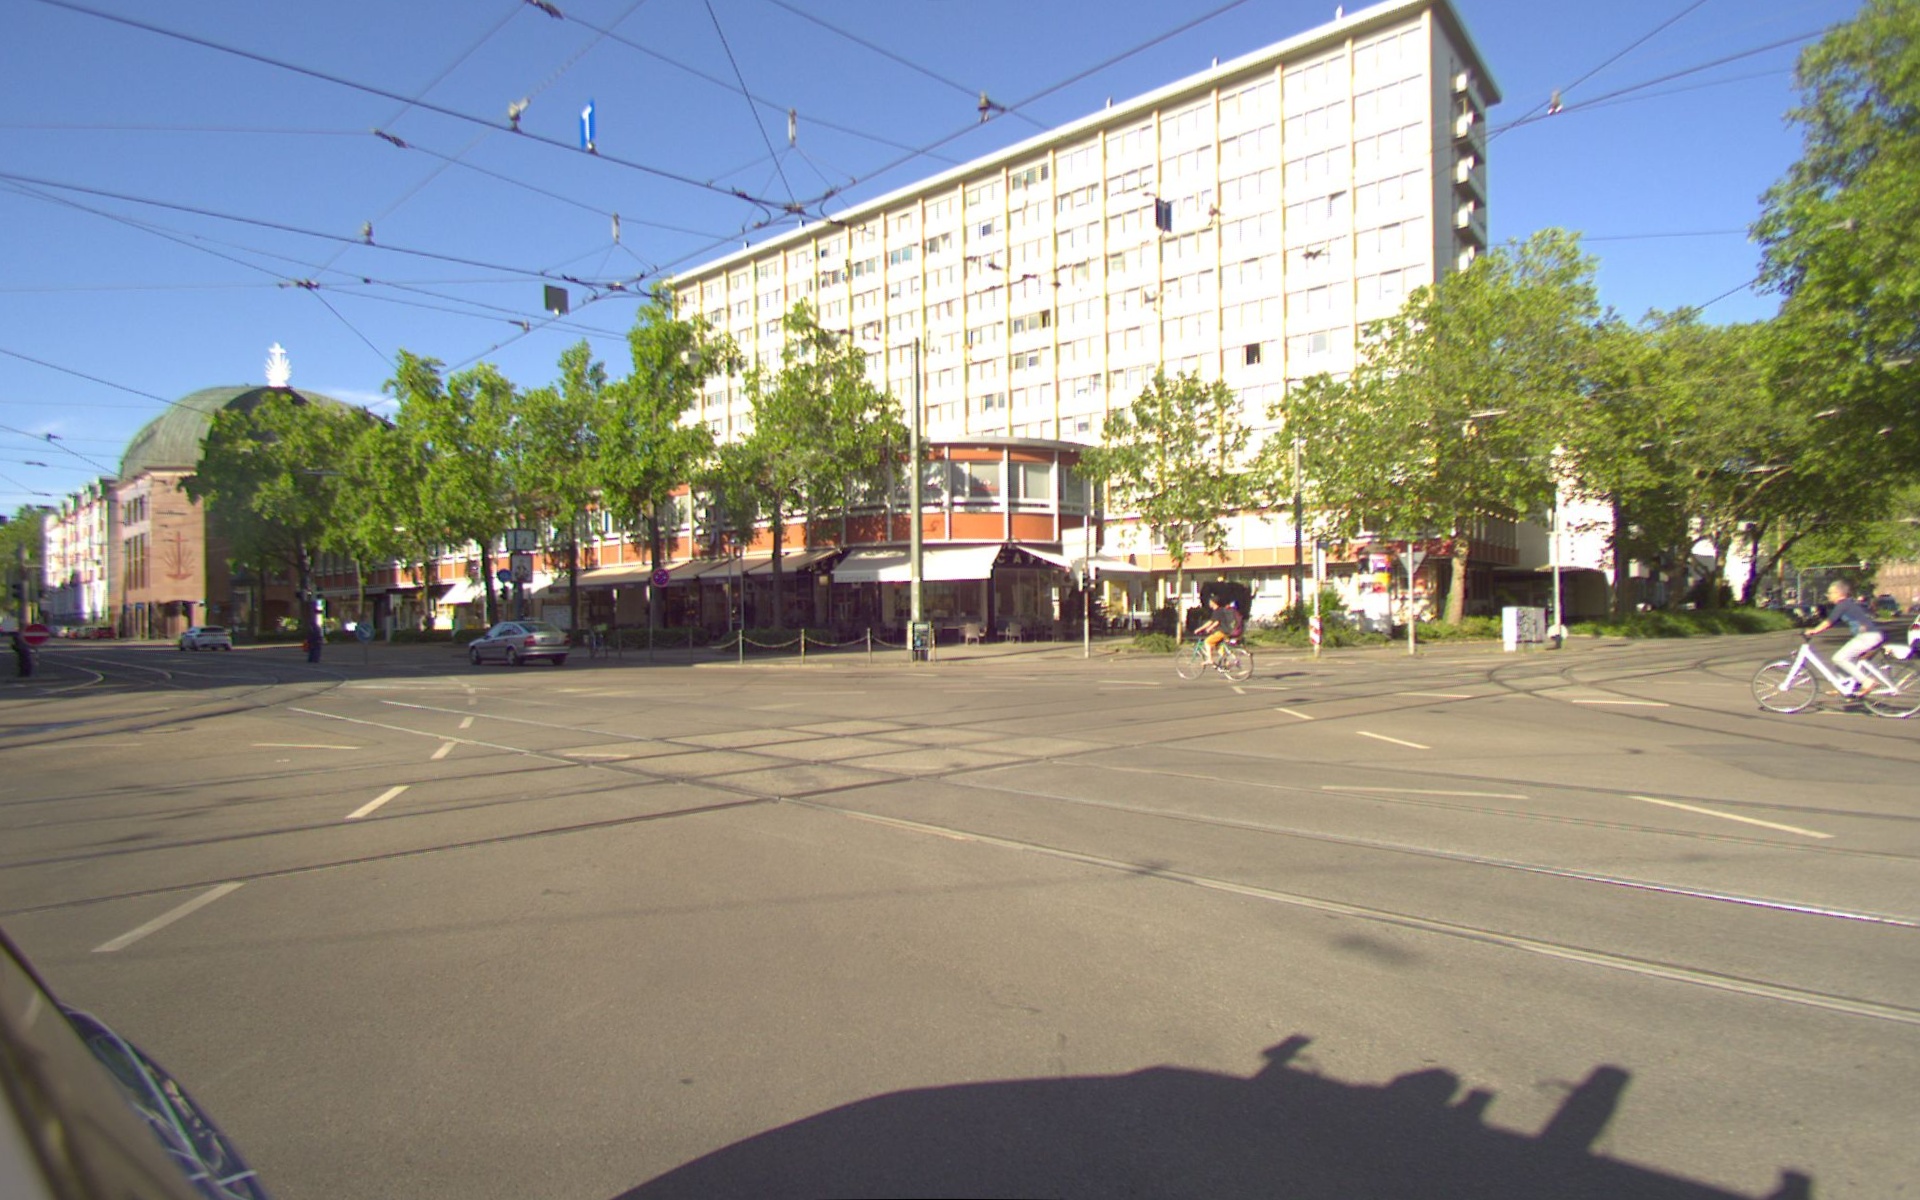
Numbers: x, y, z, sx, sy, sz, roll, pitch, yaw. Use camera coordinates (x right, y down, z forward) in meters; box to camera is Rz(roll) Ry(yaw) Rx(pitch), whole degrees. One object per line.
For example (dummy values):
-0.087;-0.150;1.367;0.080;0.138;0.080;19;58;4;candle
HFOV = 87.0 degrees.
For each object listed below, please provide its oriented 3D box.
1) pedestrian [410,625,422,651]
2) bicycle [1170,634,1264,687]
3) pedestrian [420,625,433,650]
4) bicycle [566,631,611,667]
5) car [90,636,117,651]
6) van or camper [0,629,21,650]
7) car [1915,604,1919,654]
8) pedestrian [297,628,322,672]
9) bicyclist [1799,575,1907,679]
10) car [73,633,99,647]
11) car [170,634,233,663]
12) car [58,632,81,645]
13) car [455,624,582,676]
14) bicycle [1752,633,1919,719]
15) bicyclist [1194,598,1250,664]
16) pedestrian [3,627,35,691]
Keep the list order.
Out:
-38.148;2.685;70.967;0.706;1.785;0.566;0;-1;44;pedestrian
5.301;1.233;20.964;1.818;0.979;0.587;2;0;44;bicycle
-37.692;2.656;71.482;0.706;1.763;0.566;0;-1;44;pedestrian
-13.388;1.749;36.427;2.234;1.195;0.492;0;-1;41;bicycle
-90.937;4.604;107.464;3.470;1.465;1.730;0;0;41;car
-134.182;5.582;142.706;7.020;2.760;2.014;0;-2;43;van or camper
29.271;0.798;29.540;3.948;1.413;1.805;0;-1;-44;car
-23.200;1.783;36.099;0.859;1.529;0.494;0;-2;43;pedestrian
11.587;0.332;13.136;0.582;1.295;0.993;1;0;-45;bicyclist
-98.462;4.486;113.949;3.853;1.465;1.831;0;0;43;car
-43.042;2.729;57.365;4.500;1.462;1.973;0;-1;41;car
-110.253;4.746;125.315;3.853;1.465;1.831;0;0;43;car
-14.241;1.554;32.509;4.648;1.462;1.973;0;-1;41;car
11.551;0.961;13.196;1.855;0.979;0.587;2;0;45;bicycle
5.377;0.627;20.800;0.927;1.295;0.582;2;0;43;bicyclist
-27.102;1.695;29.142;0.895;1.777;0.552;0;-2;43;pedestrian
